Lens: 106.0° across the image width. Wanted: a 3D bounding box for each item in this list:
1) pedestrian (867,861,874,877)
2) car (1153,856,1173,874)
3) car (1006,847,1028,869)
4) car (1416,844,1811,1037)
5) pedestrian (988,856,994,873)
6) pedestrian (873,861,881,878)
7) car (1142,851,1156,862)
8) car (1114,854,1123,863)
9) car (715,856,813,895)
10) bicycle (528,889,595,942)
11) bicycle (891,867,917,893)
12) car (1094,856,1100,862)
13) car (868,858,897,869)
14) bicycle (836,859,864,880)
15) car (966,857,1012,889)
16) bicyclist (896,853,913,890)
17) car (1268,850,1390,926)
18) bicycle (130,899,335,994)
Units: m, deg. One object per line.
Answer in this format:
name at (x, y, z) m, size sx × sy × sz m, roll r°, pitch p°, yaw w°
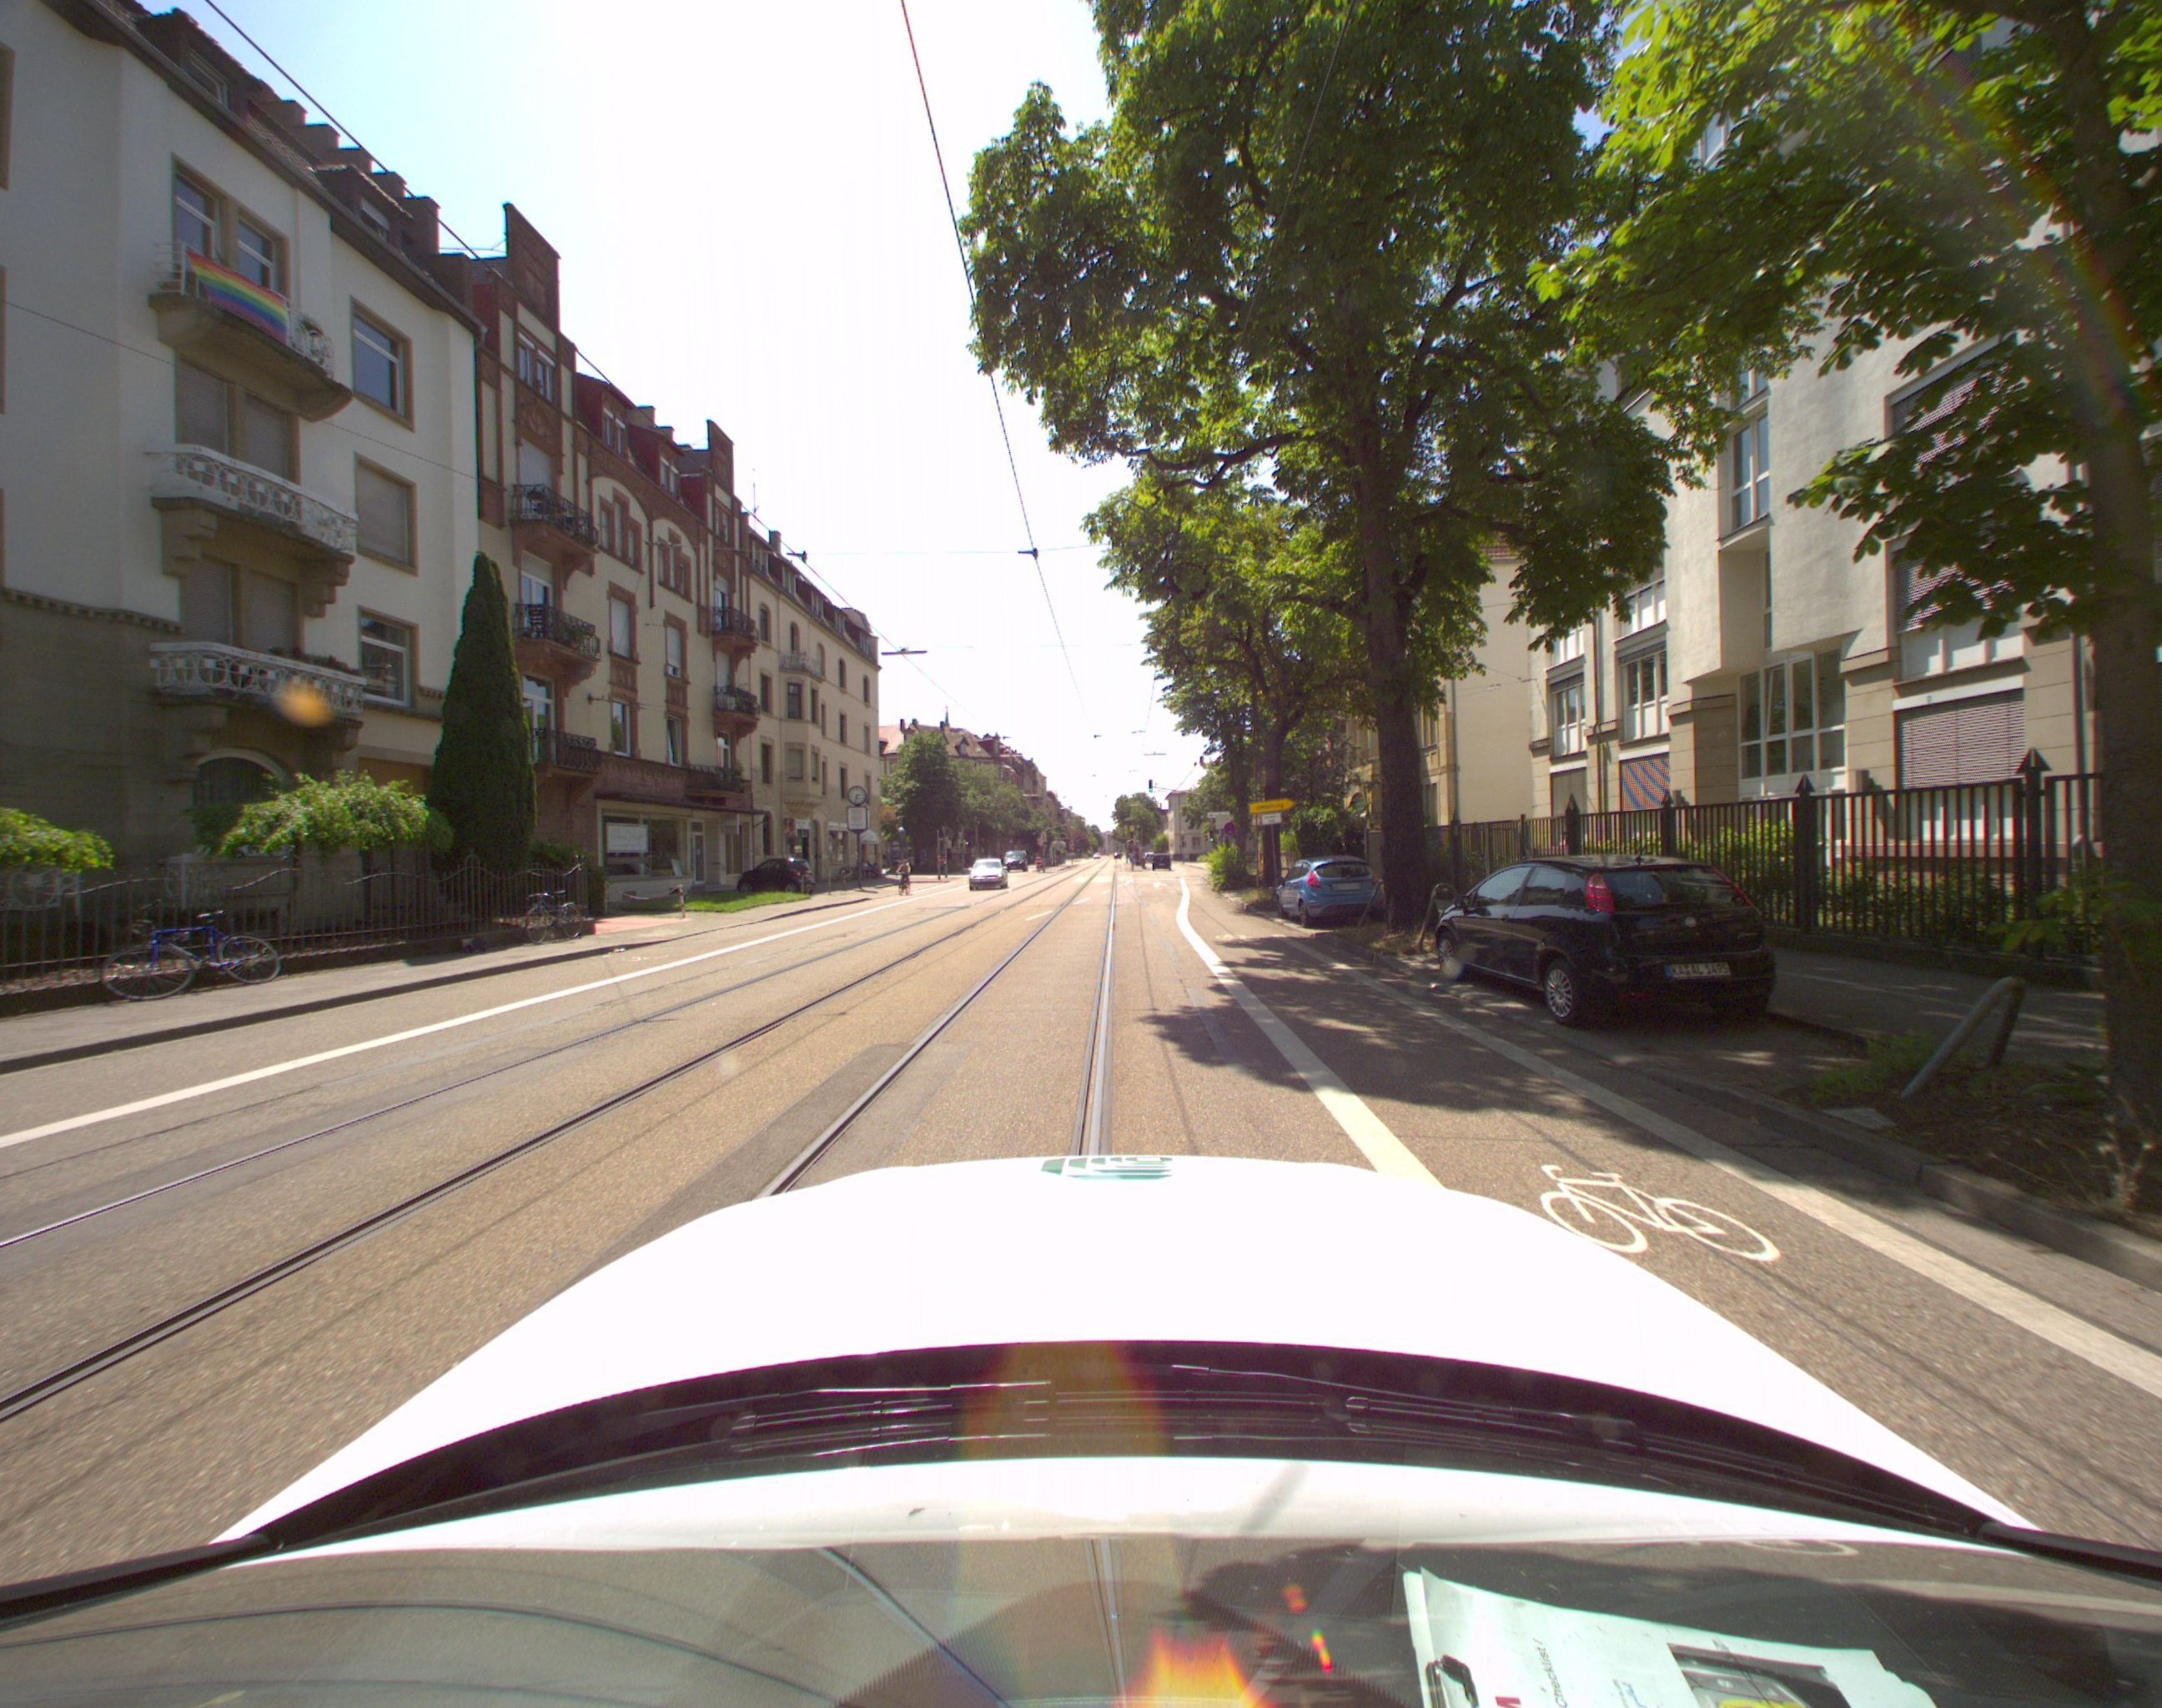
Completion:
pedestrian at (-13.968, 0.979, 54.028) m, size 0.353 × 1.089 × 0.405 m, roll 0°, pitch -1°, yaw -1°
car at (7.130, 0.935, 71.080) m, size 1.519 × 1.444 × 3.366 m, roll -3°, pitch -1°, yaw 2°
car at (-5.963, 0.418, 76.229) m, size 1.839 × 1.938 × 4.817 m, roll -3°, pitch -1°, yaw -3°
car at (5.121, 0.715, 8.570) m, size 1.670 × 1.497 × 3.921 m, roll -3°, pitch -1°, yaw 2°
pedestrian at (-9.834, 1.142, 88.878) m, size 0.508 × 1.879 × 0.494 m, roll 0°, pitch -1°, yaw 6°
pedestrian at (-13.831, 1.032, 55.181) m, size 0.404 × 1.148 × 0.405 m, roll 0°, pitch -1°, yaw -2°
car at (9.337, 0.330, 112.125) m, size 1.521 × 1.456 × 3.361 m, roll -3°, pitch -1°, yaw -3°
car at (8.525, 1.038, 187.804) m, size 2.039 × 2.014 × 4.609 m, roll 0°, pitch -1°, yaw 2°
car at (-12.853, 0.844, 33.129) m, size 3.337 × 1.471 × 1.532 m, roll 1°, pitch 0°, yaw 5°
bicycle at (-10.192, 1.187, 16.031) m, size 0.251 × 0.917 × 1.615 m, roll 0°, pitch 0°, yaw 2°
bicycle at (-8.076, 1.164, 37.290) m, size 0.641 × 1.074 × 2.187 m, roll -2°, pitch 0°, yaw 2°
car at (4.012, 1.290, 208.567) m, size 1.535 × 1.339 × 3.719 m, roll 0°, pitch -1°, yaw 1°
car at (-26.684, 1.253, 109.392) m, size 3.695 × 1.442 × 1.550 m, roll -1°, pitch -1°, yaw 26°
bicycle at (-14.046, 0.946, 49.486) m, size 0.450 × 1.225 × 2.091 m, roll -1°, pitch -1°, yaw 21°
car at (-4.393, 0.895, 39.254) m, size 1.702 × 1.412 × 3.825 m, roll -3°, pitch -1°, yaw 0°
bicyclist at (-8.094, 0.781, 37.382) m, size 0.608 × 1.663 × 0.579 m, roll -1°, pitch 0°, yaw 1°
car at (5.468, 0.711, 18.451) m, size 1.676 × 1.462 × 4.003 m, roll -3°, pitch -1°, yaw 3°
bicycle at (-10.456, 1.093, 10.152) m, size 0.460 × 0.948 × 1.955 m, roll 0°, pitch 0°, yaw 2°
